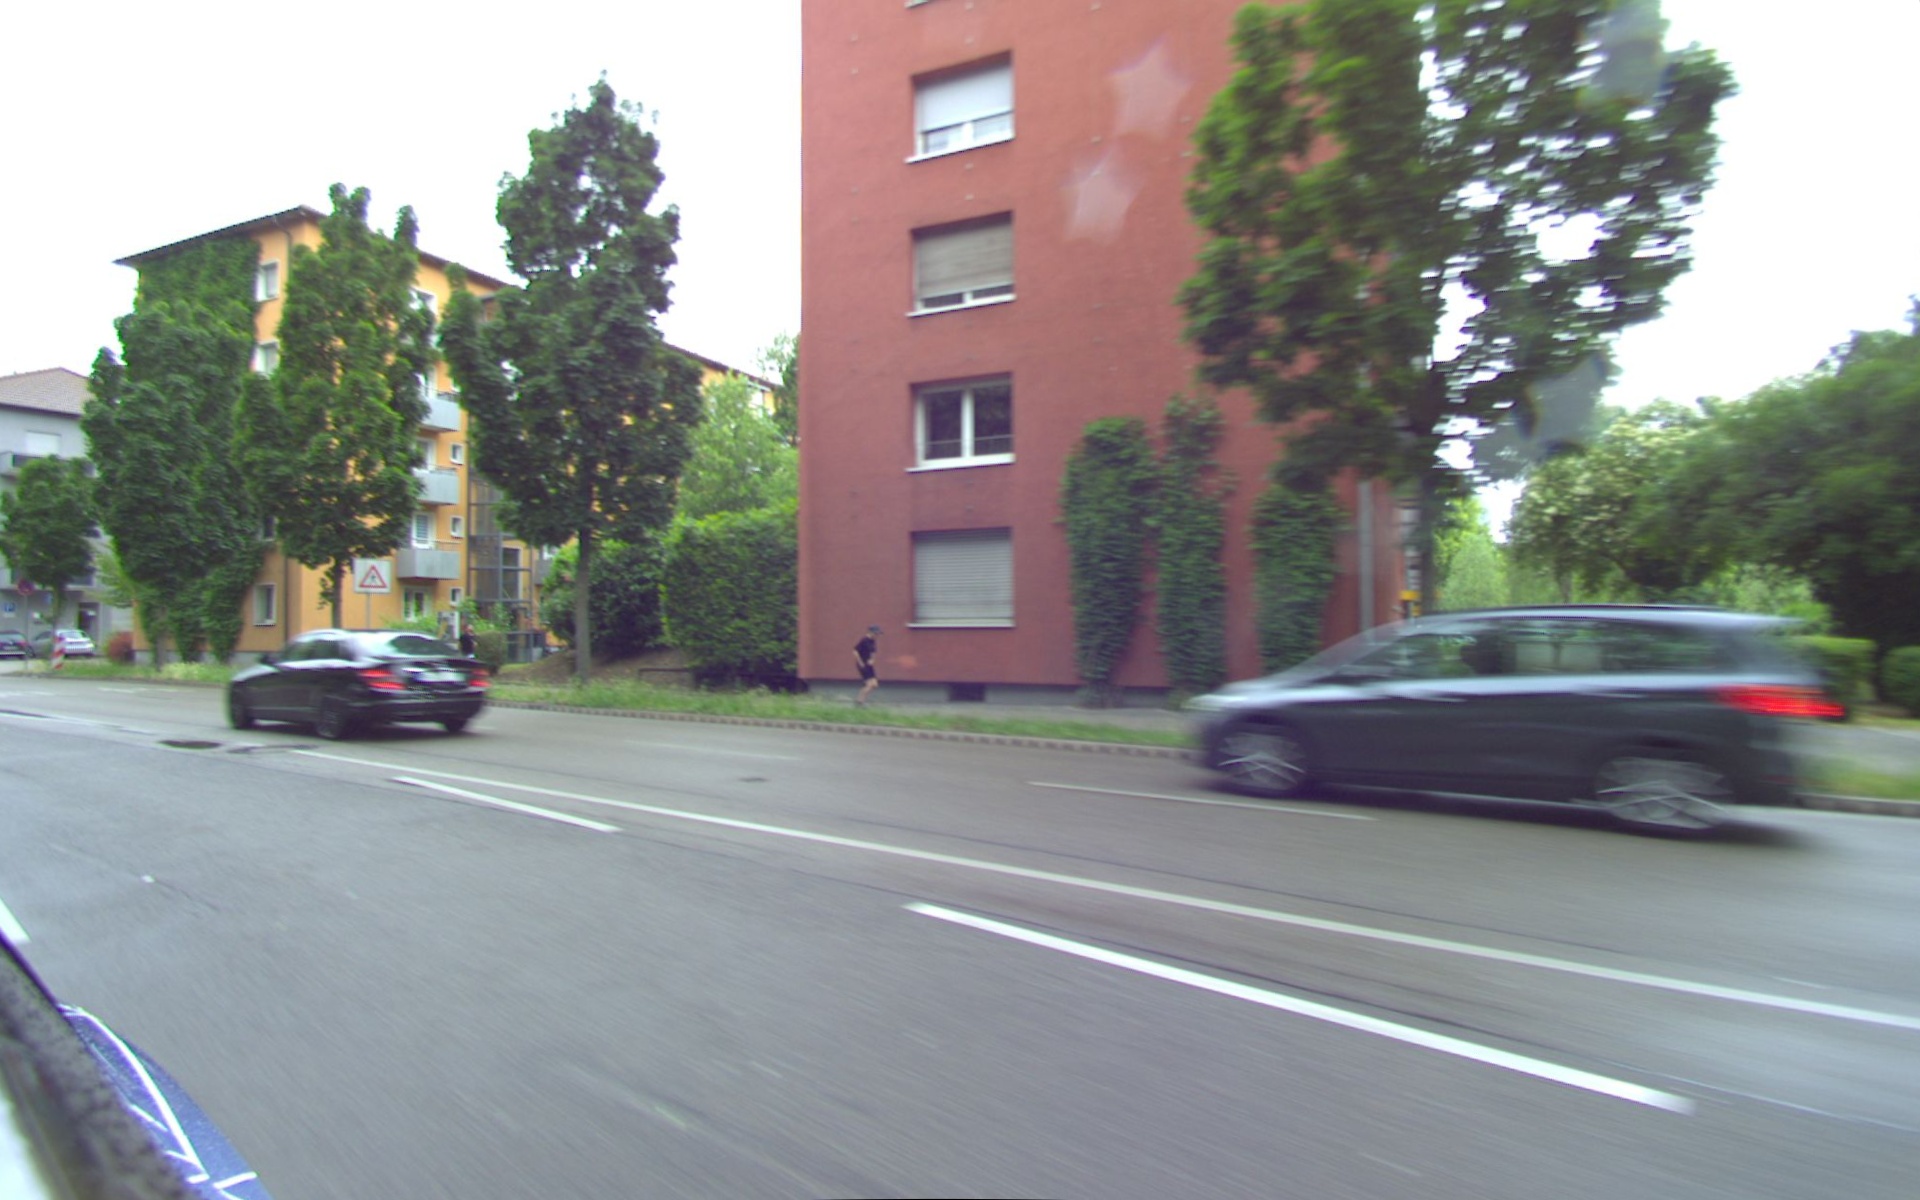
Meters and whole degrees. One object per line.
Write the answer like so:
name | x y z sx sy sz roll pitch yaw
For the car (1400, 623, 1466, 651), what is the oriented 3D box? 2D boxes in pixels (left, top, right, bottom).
car | 32.074 2.517 68.751 3.978 1.852 1.983 -1 -2 26

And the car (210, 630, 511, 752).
car | -8.125 1.144 13.601 4.349 1.395 1.825 -2 -4 35

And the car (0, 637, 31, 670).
car | -47.807 2.631 49.731 4.616 1.497 1.838 -1 1 30

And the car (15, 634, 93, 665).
car | -46.649 2.520 52.081 4.211 1.537 1.718 -1 -3 30

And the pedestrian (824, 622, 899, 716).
pedestrian | -1.656 1.144 17.073 1.066 1.529 0.687 -2 -3 31

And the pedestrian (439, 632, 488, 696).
pedestrian | -11.513 1.474 23.455 0.833 1.460 0.666 -2 -3 31

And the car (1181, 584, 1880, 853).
car | 4.243 0.810 8.168 4.455 1.614 1.857 -2 -4 36
